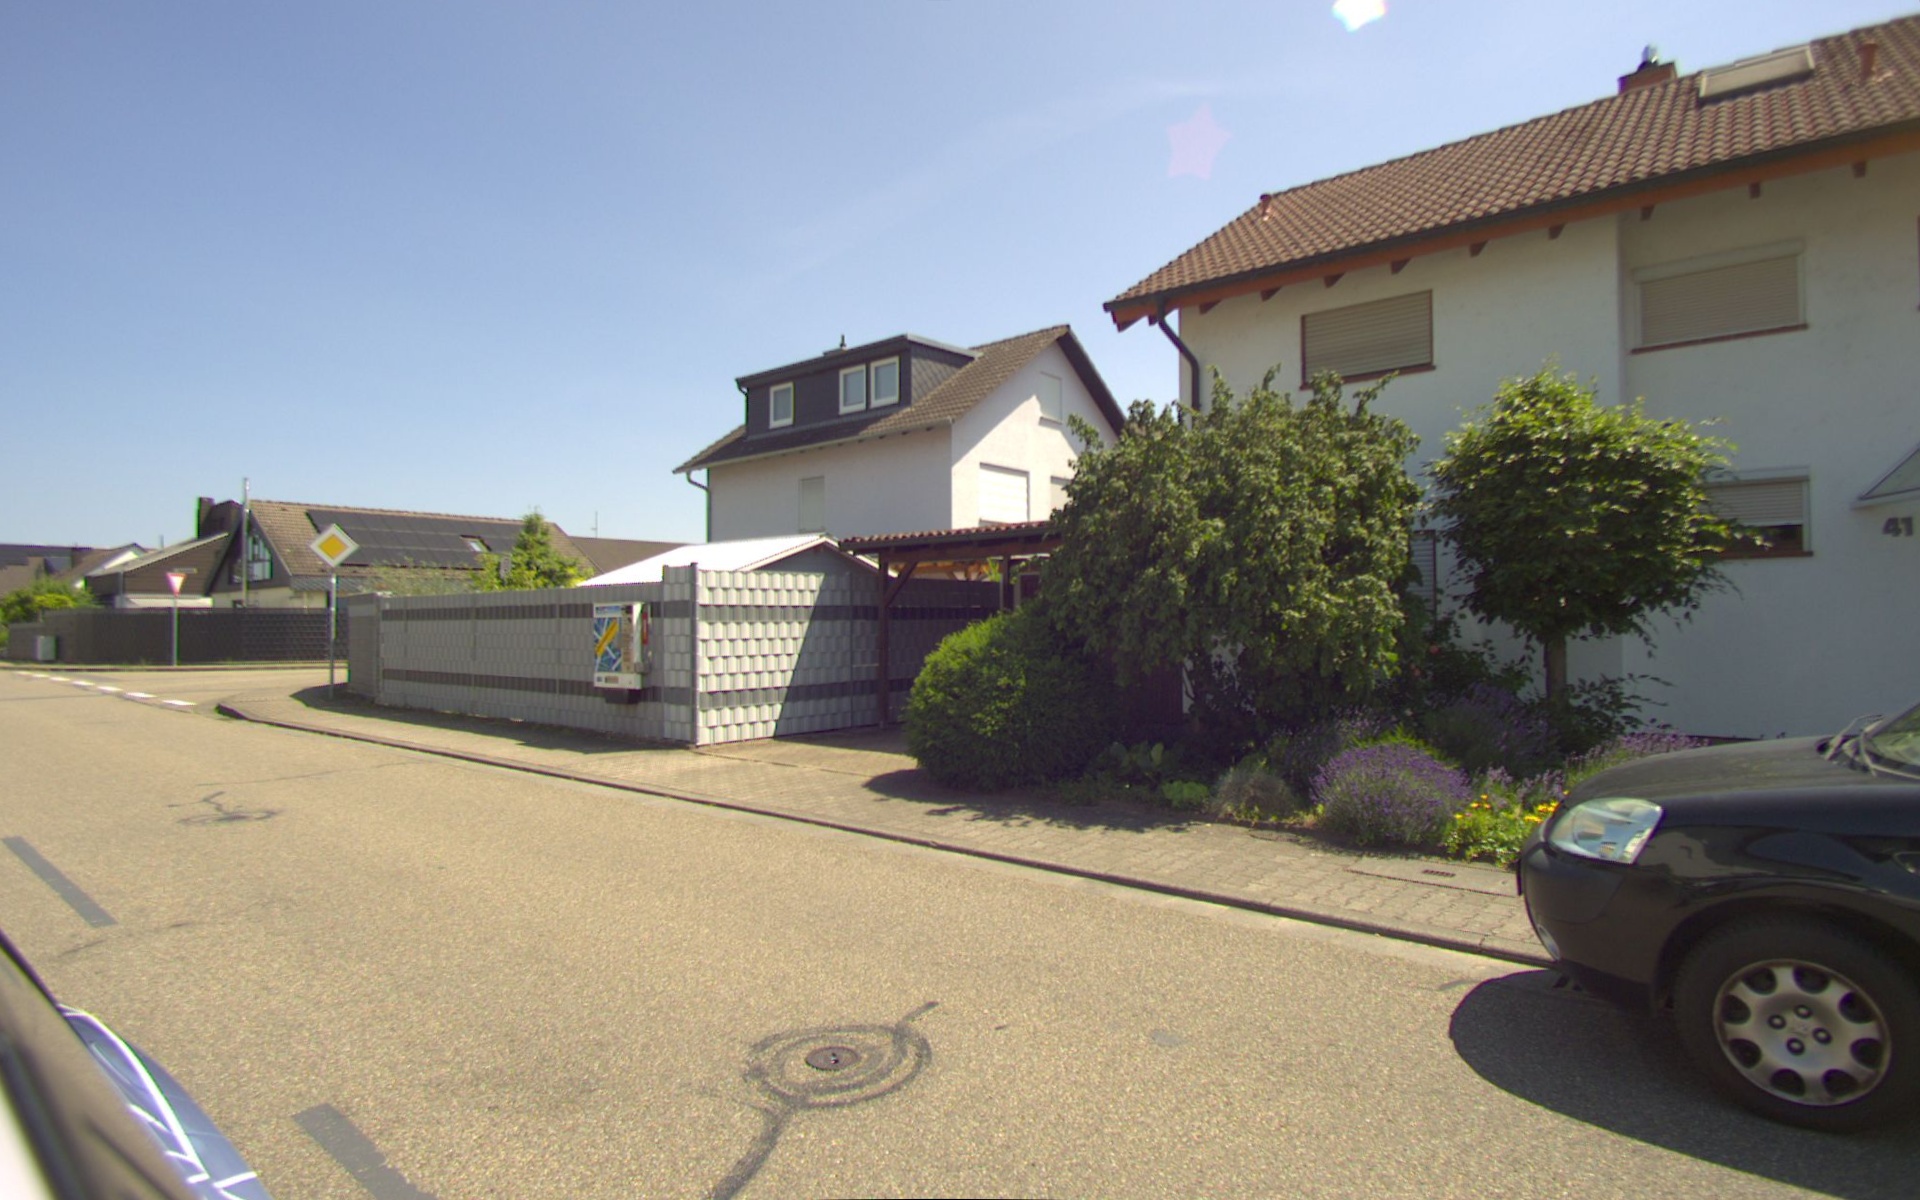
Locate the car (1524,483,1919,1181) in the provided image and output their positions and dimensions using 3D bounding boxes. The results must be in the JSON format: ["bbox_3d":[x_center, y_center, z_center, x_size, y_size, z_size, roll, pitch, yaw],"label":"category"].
[{"bbox_3d":[3.943,0.605,2.668,4.050,1.860,1.701,-1,-2,39],"label":"car"}]
